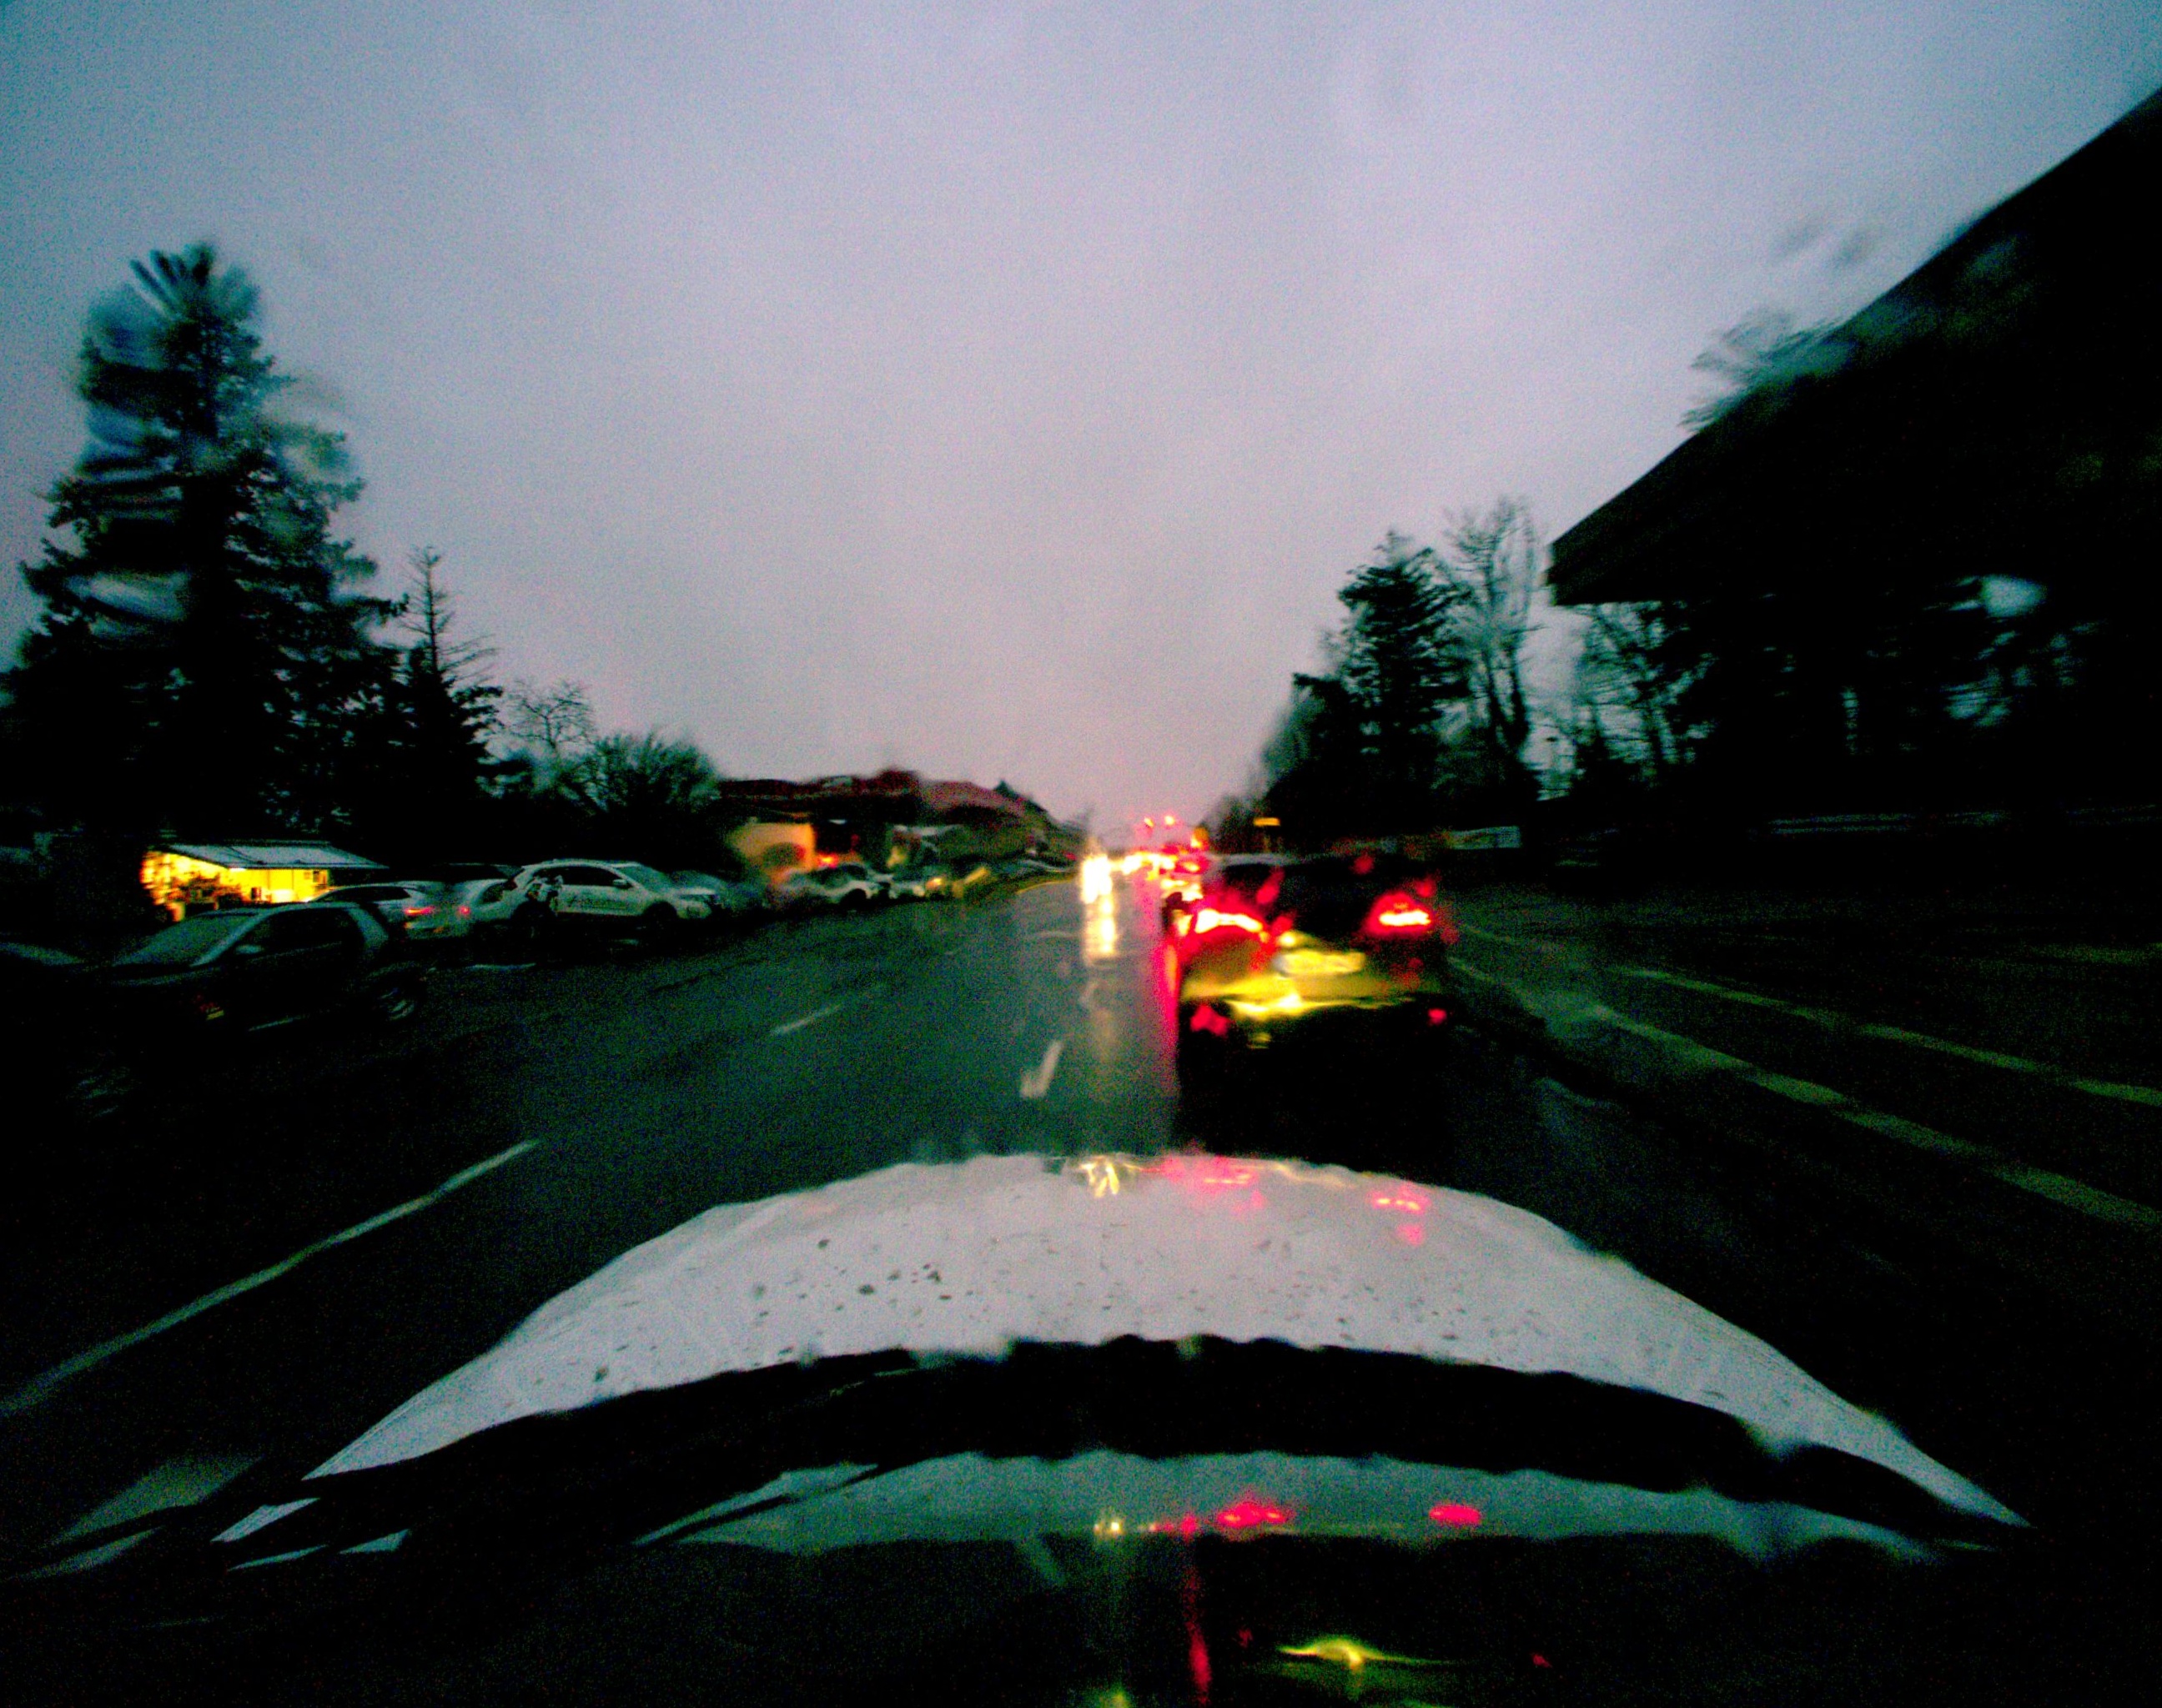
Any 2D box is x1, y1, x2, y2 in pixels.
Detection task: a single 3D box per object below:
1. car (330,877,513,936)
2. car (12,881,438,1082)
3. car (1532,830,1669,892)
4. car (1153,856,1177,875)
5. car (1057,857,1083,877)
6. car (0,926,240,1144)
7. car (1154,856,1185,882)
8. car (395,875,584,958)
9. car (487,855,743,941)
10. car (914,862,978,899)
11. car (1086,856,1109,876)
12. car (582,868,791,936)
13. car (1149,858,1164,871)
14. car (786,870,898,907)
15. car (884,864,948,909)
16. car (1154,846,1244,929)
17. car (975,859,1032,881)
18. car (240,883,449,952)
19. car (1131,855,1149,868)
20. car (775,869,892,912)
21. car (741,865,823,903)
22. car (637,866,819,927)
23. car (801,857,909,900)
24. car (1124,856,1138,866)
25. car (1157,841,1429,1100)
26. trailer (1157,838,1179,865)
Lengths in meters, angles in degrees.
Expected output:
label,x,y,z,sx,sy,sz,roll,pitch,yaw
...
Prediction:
label,x,y,z,sx,sy,sz,roll,pitch,yaw
car,-19.182,1.509,23.797,3.967,1.510,1.792,-2,0,5
car,-8.834,1.209,8.721,1.163,1.644,2.881,-3,0,14
car,15.363,0.185,23.989,4.505,1.608,1.996,-2,0,-38
car,6.253,0.830,60.765,1.645,1.336,4.279,-2,0,6
car,-1.016,1.229,79.161,1.961,1.830,4.519,-4,0,6
car,-7.839,1.242,4.597,1.563,1.321,4.260,-4,-2,3
car,5.066,0.820,46.790,1.632,1.366,4.777,-2,-1,6
car,-14.137,1.426,19.742,1.662,1.676,3.710,-2,0,3
car,-10.322,0.938,18.297,4.518,1.676,2.011,-2,0,1
car,-5.835,1.108,35.509,1.673,1.421,3.748,-2,0,7
car,1.418,1.002,69.364,1.596,1.534,4.005,-4,0,5
car,-9.937,1.192,20.687,4.311,1.498,1.999,-2,0,8
car,8.749,1.239,94.117,1.654,1.439,4.388,-1,-1,5
car,-9.495,1.352,32.569,3.840,1.346,1.842,-1,0,4
car,-6.316,1.218,31.473,1.510,1.543,3.019,-4,0,5
car,2.577,0.668,18.373,1.699,1.575,4.471,-2,0,6
car,-6.235,1.275,65.948,4.256,1.662,2.003,0,0,5
car,-18.389,1.522,20.467,1.653,1.384,3.646,-2,0,38
car,7.542,0.955,104.048,2.039,1.573,4.706,-3,-1,3
car,-9.195,1.349,30.437,3.756,1.459,1.777,-1,0,2
car,-13.092,1.270,35.900,1.824,1.489,3.878,-1,0,7
car,-9.910,1.186,23.039,4.314,1.498,1.828,-2,0,5
car,-9.770,1.059,35.404,4.025,1.650,1.945,-2,0,7
car,9.084,1.245,147.336,1.982,1.746,4.010,-4,-1,9
car,1.475,0.714,6.901,1.557,1.529,4.013,-2,0,6
trailer,11.194,-0.277,105.342,2.476,3.241,10.883,-2,-1,5
